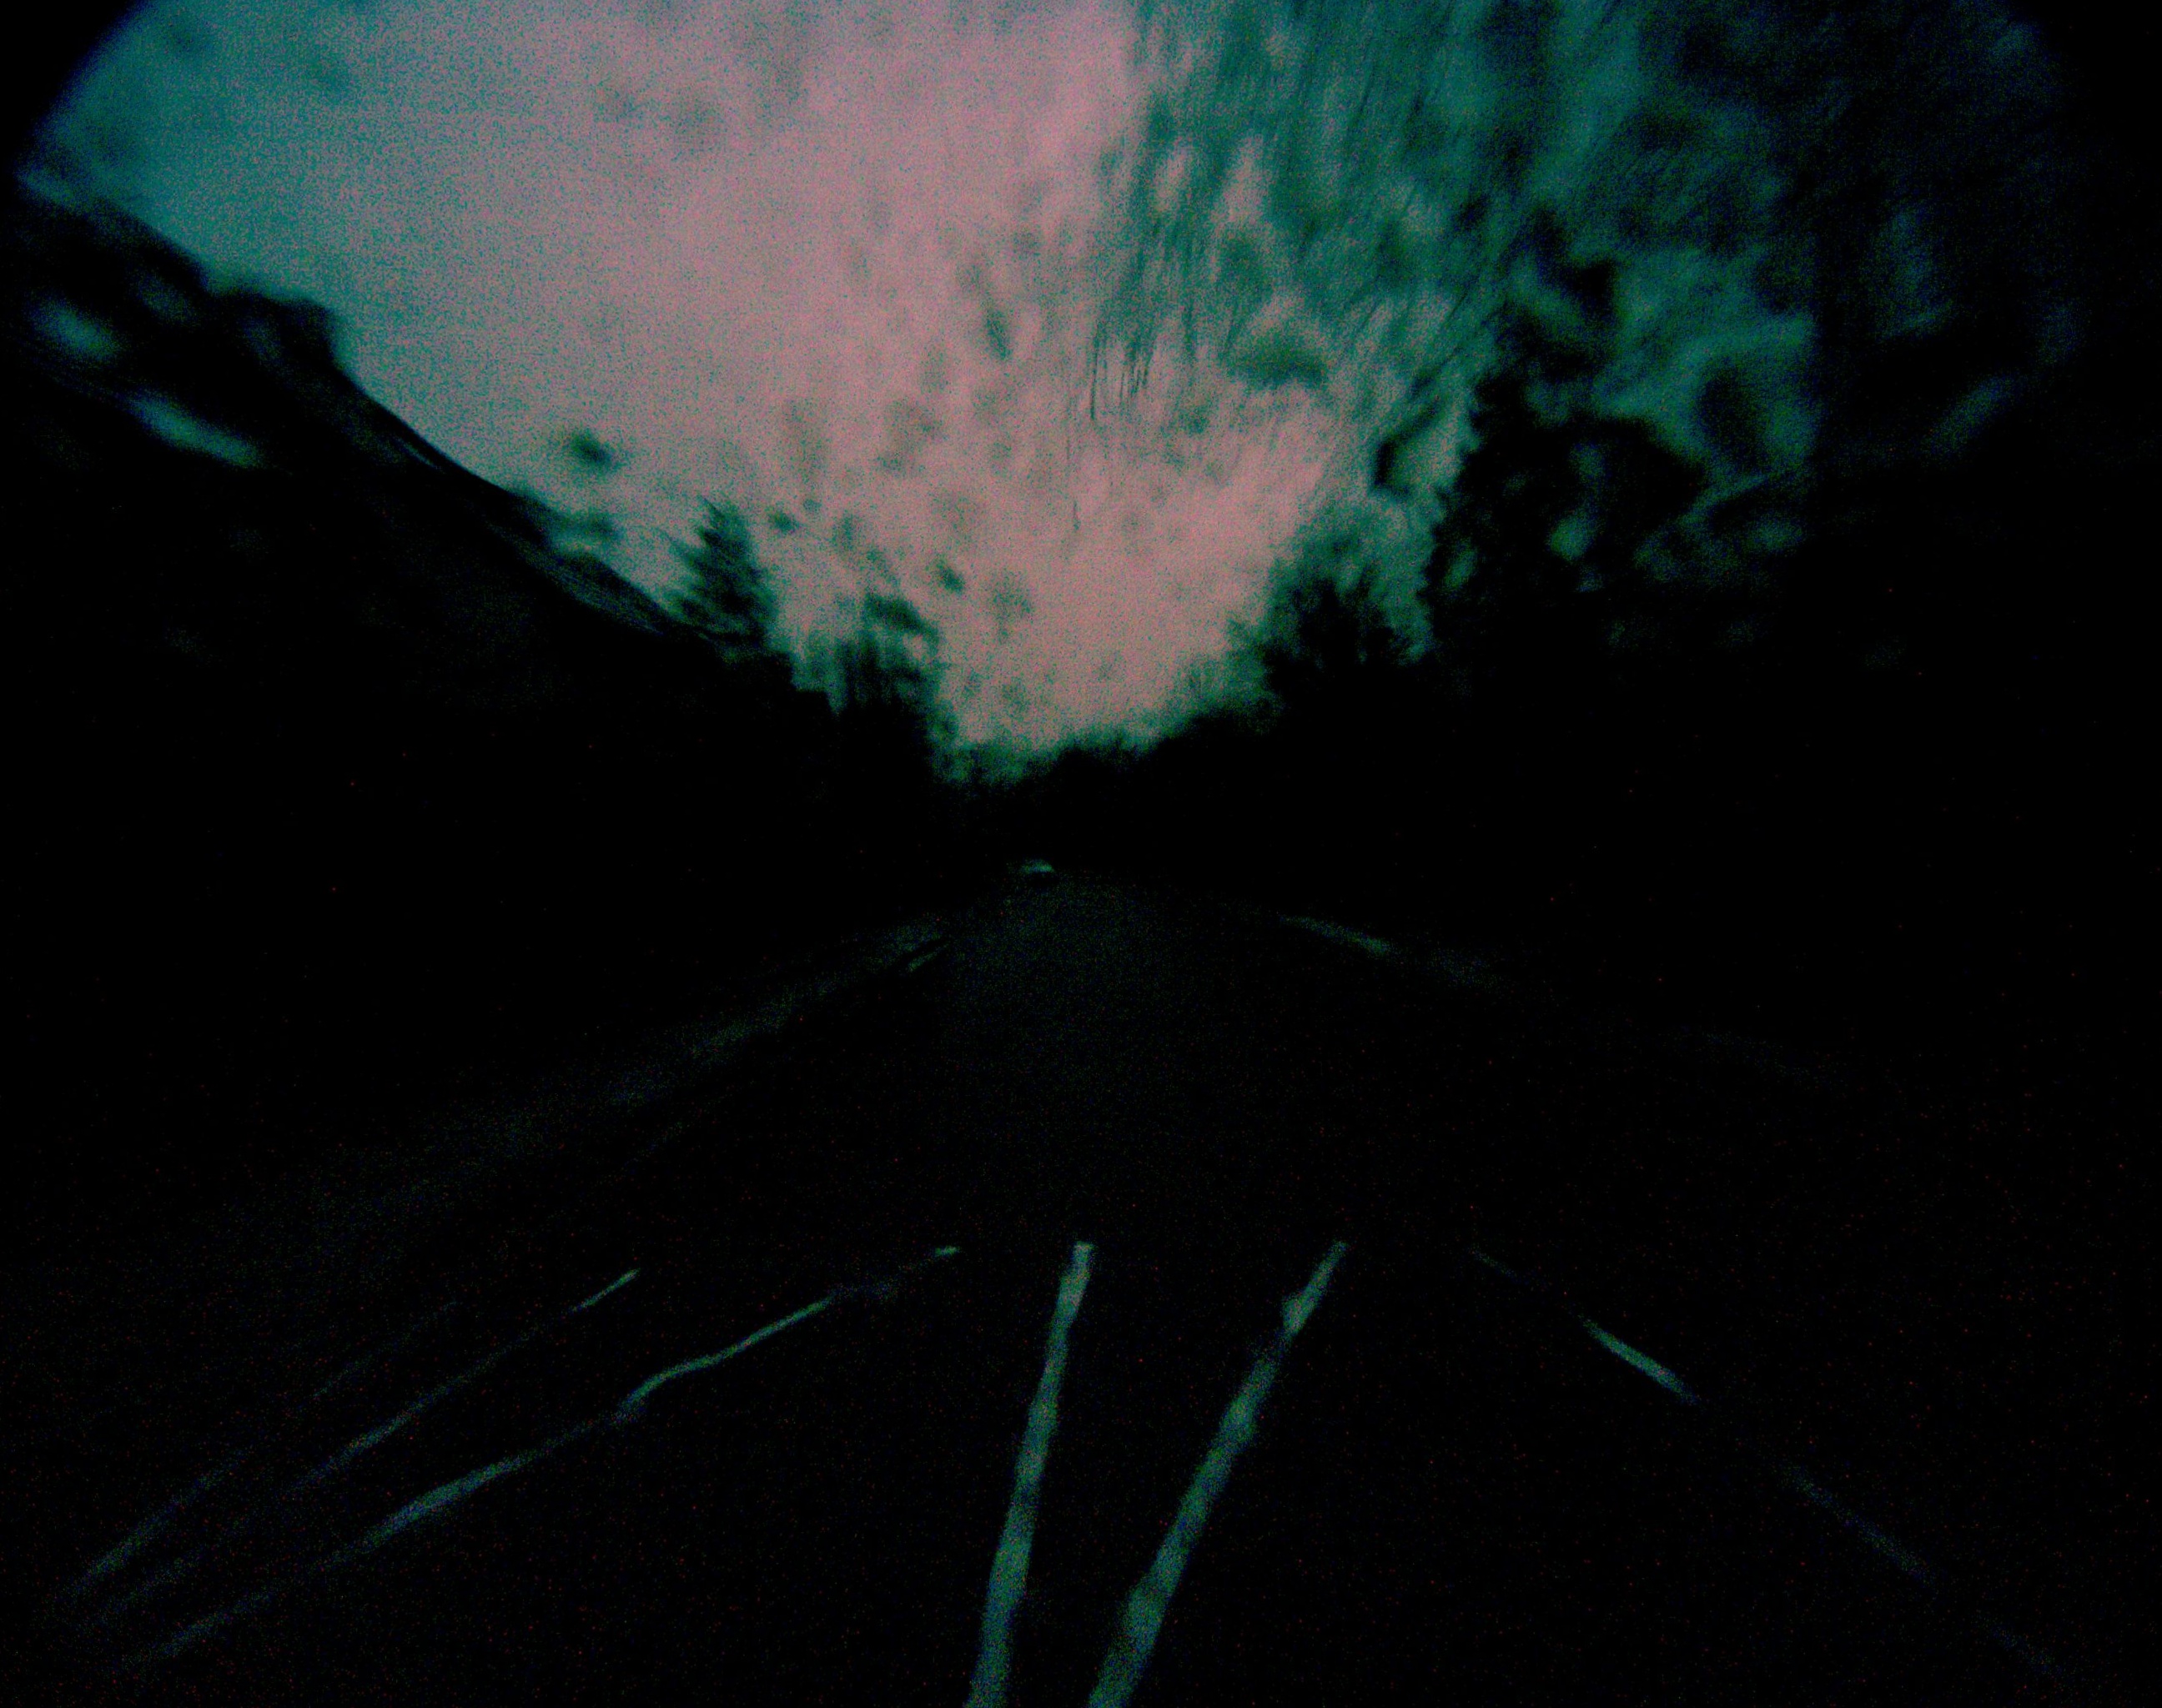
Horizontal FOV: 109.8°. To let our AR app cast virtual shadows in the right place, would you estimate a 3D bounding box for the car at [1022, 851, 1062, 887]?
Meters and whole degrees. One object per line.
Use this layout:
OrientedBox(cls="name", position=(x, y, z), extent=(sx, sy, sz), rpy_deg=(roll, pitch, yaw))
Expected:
OrientedBox(cls="car", position=(-1.939, 0.684, 36.528), extent=(1.709, 1.497, 4.022), rpy_deg=(-2, 1, -5))
